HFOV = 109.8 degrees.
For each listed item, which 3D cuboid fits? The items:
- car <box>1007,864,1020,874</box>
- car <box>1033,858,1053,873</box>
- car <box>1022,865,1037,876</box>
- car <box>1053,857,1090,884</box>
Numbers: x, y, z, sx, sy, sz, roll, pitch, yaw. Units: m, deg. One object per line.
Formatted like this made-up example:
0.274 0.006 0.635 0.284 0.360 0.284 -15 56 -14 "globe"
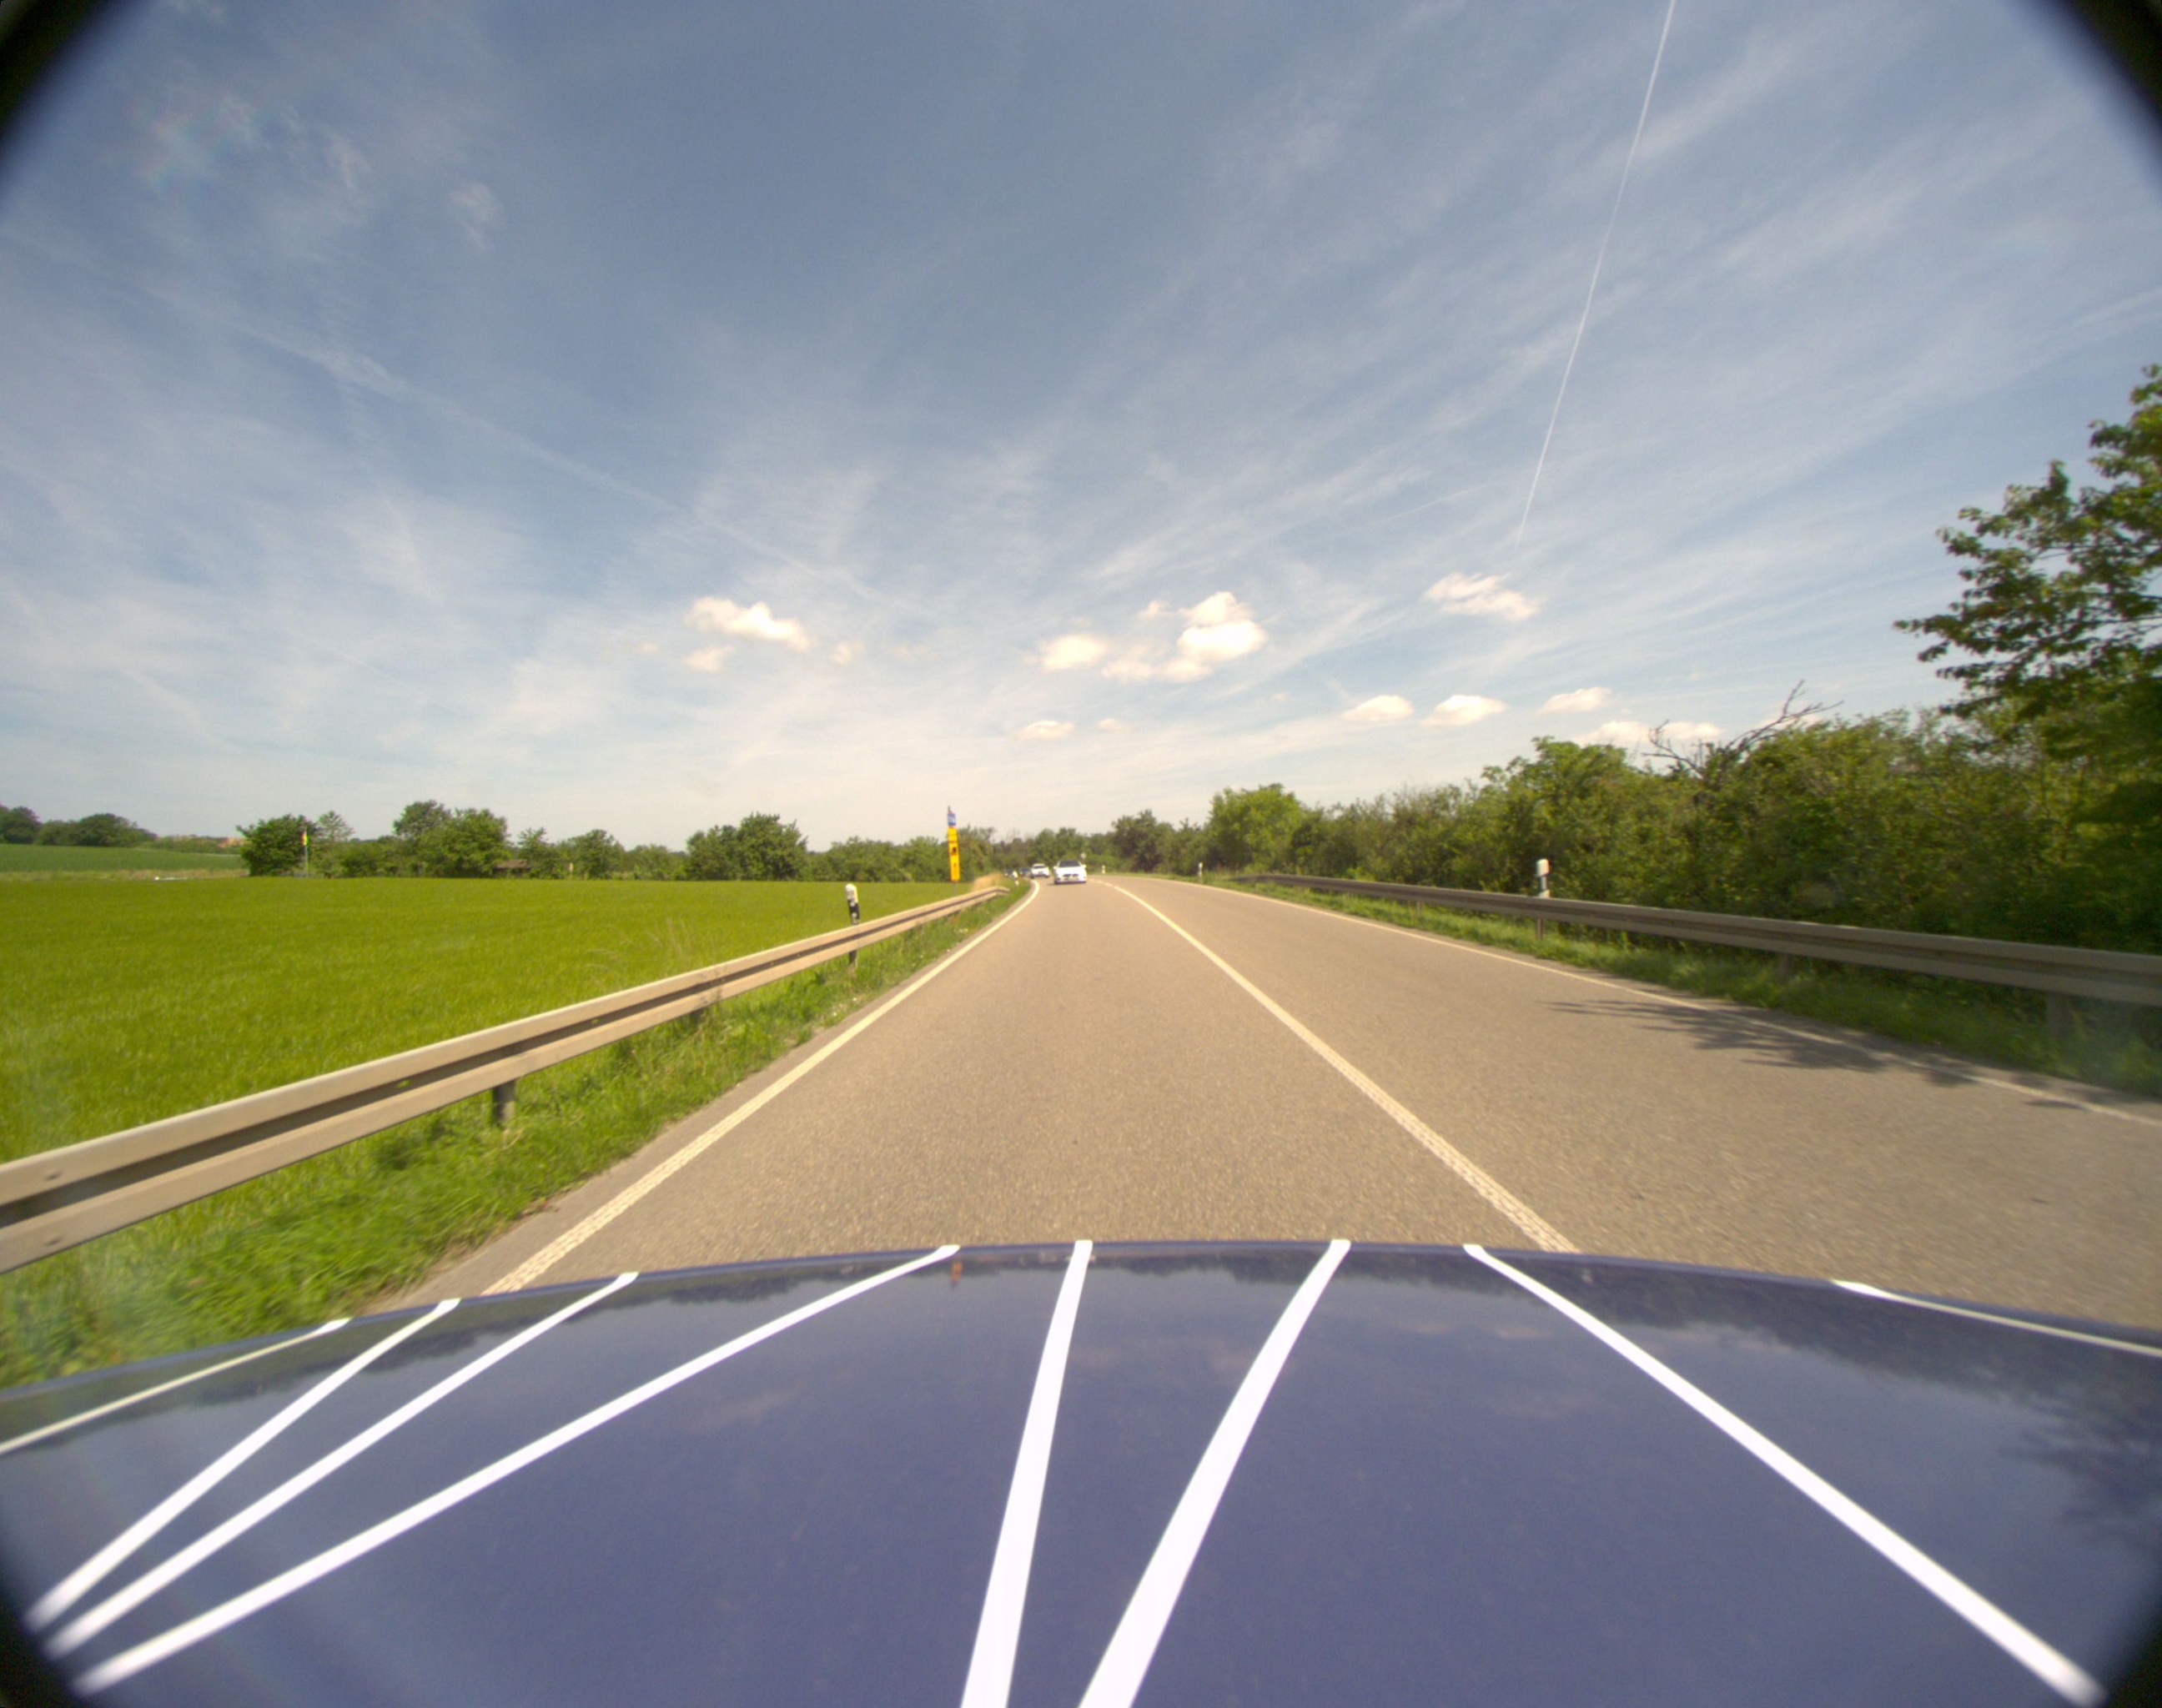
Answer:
-10.863 2.421 122.138 1.931 1.441 3.996 -1 0 -9 "car"
-4.052 1.204 80.003 1.930 1.441 3.999 -4 0 -4 "car"
-7.028 2.238 102.584 1.930 1.441 4.075 -1 0 -5 "car"
-0.610 0.974 46.637 1.930 1.441 4.533 -3 0 -4 "car"
